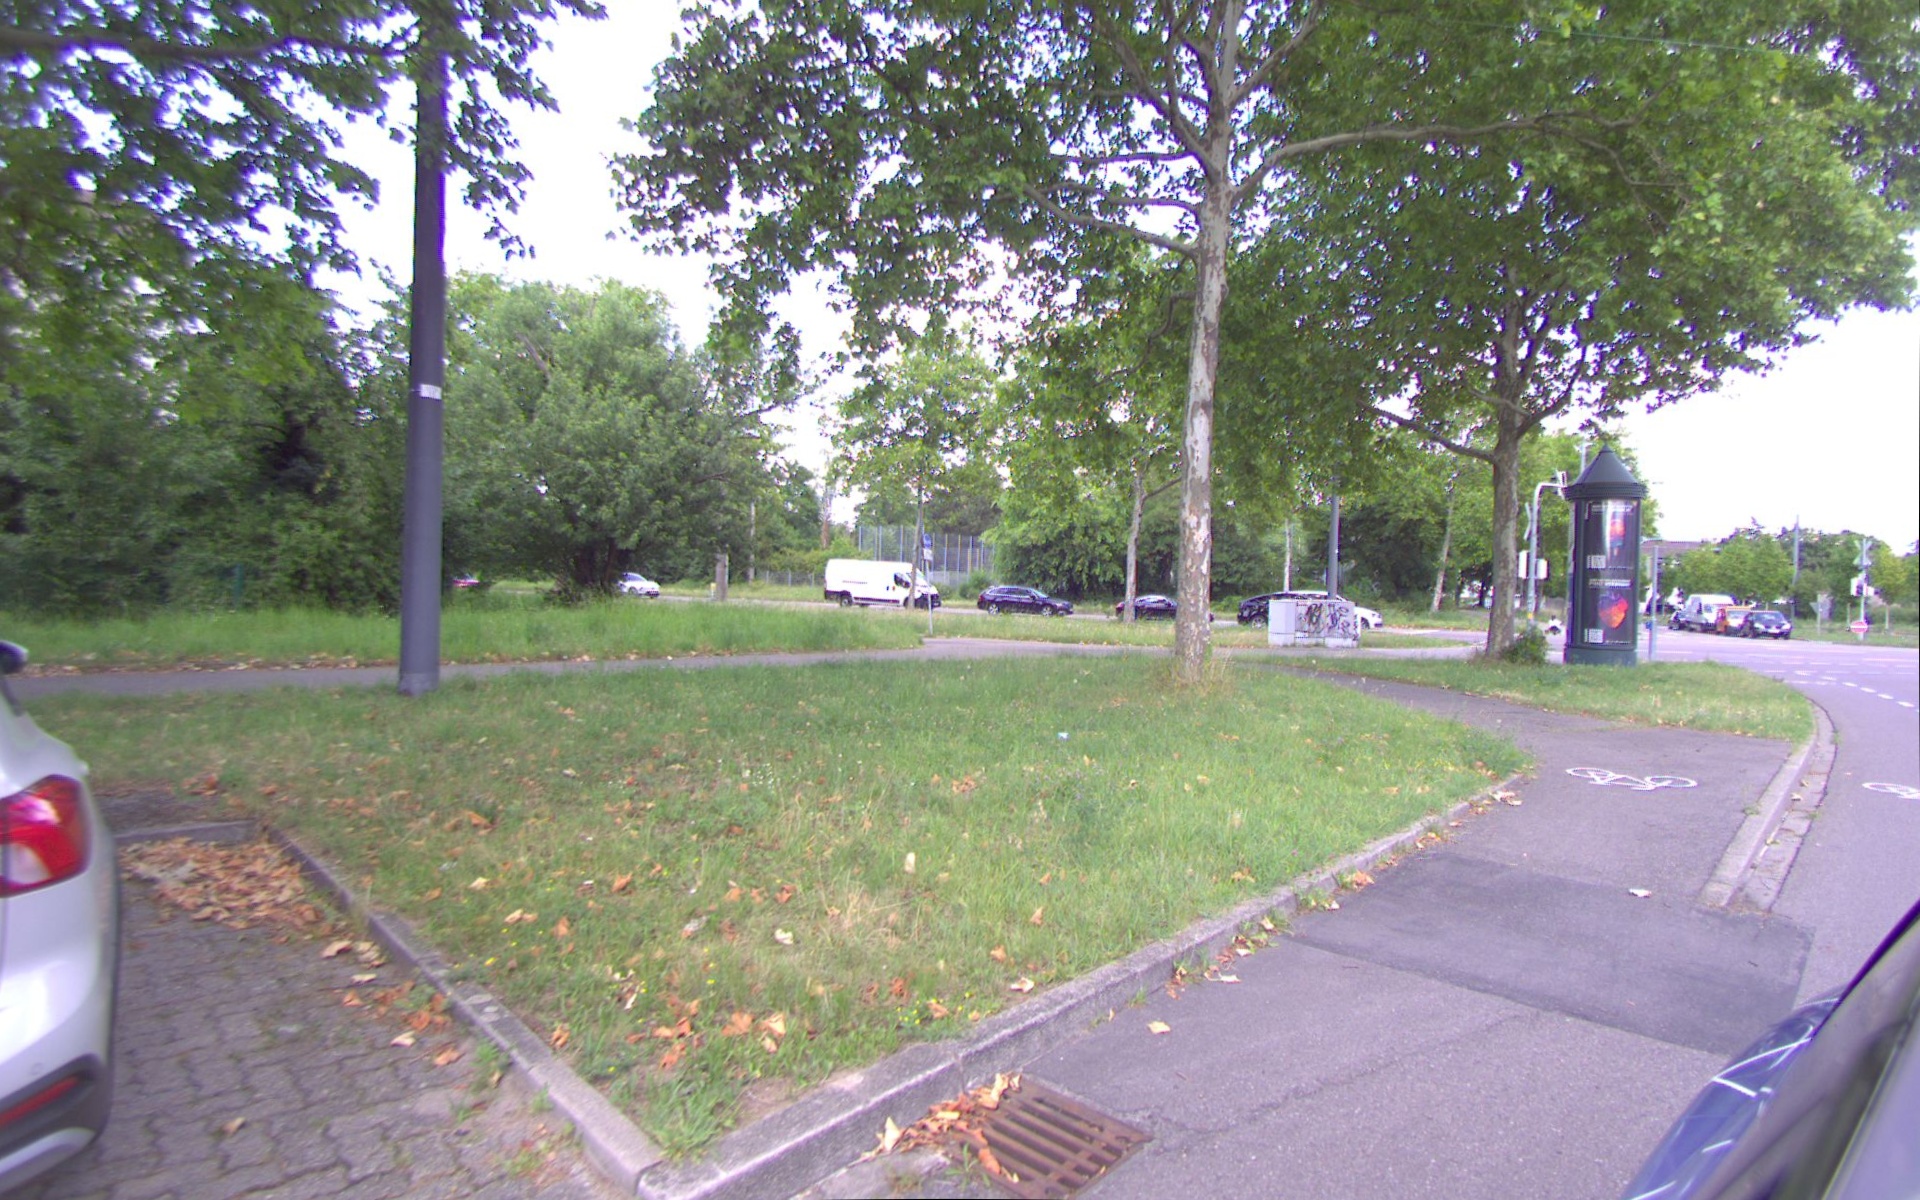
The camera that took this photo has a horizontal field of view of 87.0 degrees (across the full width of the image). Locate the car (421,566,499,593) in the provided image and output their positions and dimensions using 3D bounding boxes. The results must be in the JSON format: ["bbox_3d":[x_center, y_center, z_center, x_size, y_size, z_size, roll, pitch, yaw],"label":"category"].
[{"bbox_3d":[-31.523,-1.319,63.769,4.639,1.532,1.983,2,2,26],"label":"car"}]

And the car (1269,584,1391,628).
[{"bbox_3d":[15.583,0.203,42.659,4.639,1.630,1.983,2,2,26],"label":"car"}]

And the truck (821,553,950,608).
[{"bbox_3d":[-3.905,-1.032,52.546,6.445,2.628,2.196,2,1,27],"label":"truck"}]

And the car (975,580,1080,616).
[{"bbox_3d":[3.246,-0.115,48.660,4.639,1.532,1.983,2,2,26],"label":"car"}]

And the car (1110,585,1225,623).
[{"bbox_3d":[9.294,0.161,45.395,4.701,1.487,1.983,2,2,26],"label":"car"}]

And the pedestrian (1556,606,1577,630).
[{"bbox_3d":[27.795,0.816,46.394,0.715,1.047,0.894,2,1,26],"label":"pedestrian"}]

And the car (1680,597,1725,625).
[{"bbox_3d":[53.974,0.758,73.631,1.778,1.959,4.330,1,1,25],"label":"car"}]

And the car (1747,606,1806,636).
[{"bbox_3d":[46.086,1.146,57.208,1.779,1.558,3.963,1,1,27],"label":"car"}]

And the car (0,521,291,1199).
[{"bbox_3d":[-3.636,0.494,2.862,4.658,1.492,1.819,4,2,42],"label":"car"}]

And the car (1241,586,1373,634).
[{"bbox_3d":[13.472,0.345,39.372,4.640,1.630,1.982,2,2,26],"label":"car"}]

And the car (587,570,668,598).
[{"bbox_3d":[-20.386,-1.000,61.977,4.639,1.532,1.983,2,2,26],"label":"car"}]

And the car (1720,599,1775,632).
[{"bbox_3d":[48.691,0.922,62.667,1.778,1.959,4.329,1,1,26],"label":"car"}]

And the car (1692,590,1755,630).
[{"bbox_3d":[51.581,0.615,68.475,2.217,2.538,5.676,1,1,25],"label":"car"}]
